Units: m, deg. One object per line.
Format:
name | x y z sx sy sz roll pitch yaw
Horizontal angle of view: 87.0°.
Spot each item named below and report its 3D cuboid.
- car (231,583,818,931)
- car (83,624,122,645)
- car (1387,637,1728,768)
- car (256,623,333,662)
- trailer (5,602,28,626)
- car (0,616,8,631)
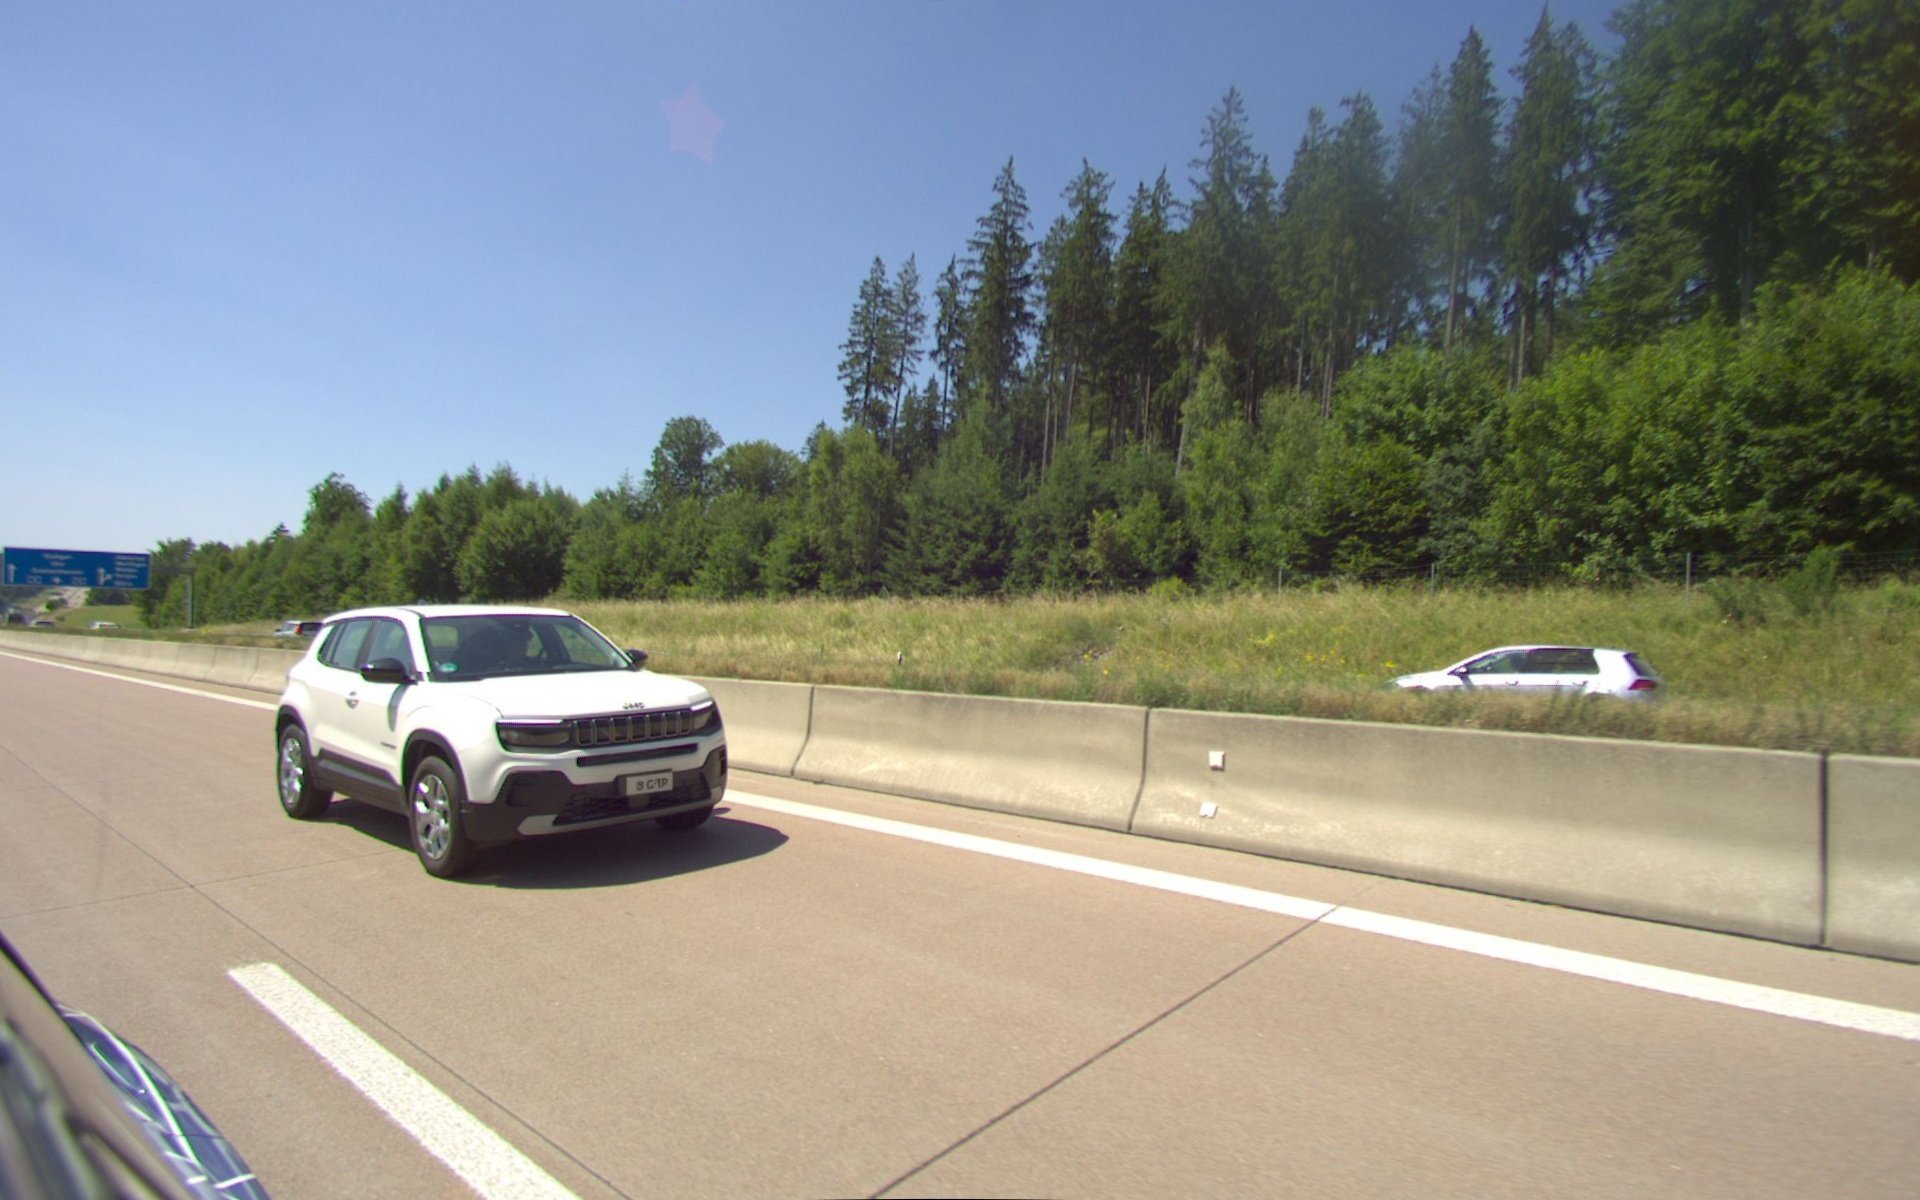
car | -3.279 0.766 7.017 4.831 1.619 1.859 -1 -1 41
car | -70.488 2.824 83.199 4.462 1.606 1.871 -1 -1 42
car | 9.465 1.500 16.235 4.459 1.752 1.872 -1 -1 39
car | -31.866 1.989 48.426 4.460 1.752 1.872 -1 -1 40
trailer | -184.611 2.753 197.976 13.195 4.468 2.673 -2 -1 44
car | -176.302 4.252 185.446 6.096 2.706 2.209 -1 -1 42
